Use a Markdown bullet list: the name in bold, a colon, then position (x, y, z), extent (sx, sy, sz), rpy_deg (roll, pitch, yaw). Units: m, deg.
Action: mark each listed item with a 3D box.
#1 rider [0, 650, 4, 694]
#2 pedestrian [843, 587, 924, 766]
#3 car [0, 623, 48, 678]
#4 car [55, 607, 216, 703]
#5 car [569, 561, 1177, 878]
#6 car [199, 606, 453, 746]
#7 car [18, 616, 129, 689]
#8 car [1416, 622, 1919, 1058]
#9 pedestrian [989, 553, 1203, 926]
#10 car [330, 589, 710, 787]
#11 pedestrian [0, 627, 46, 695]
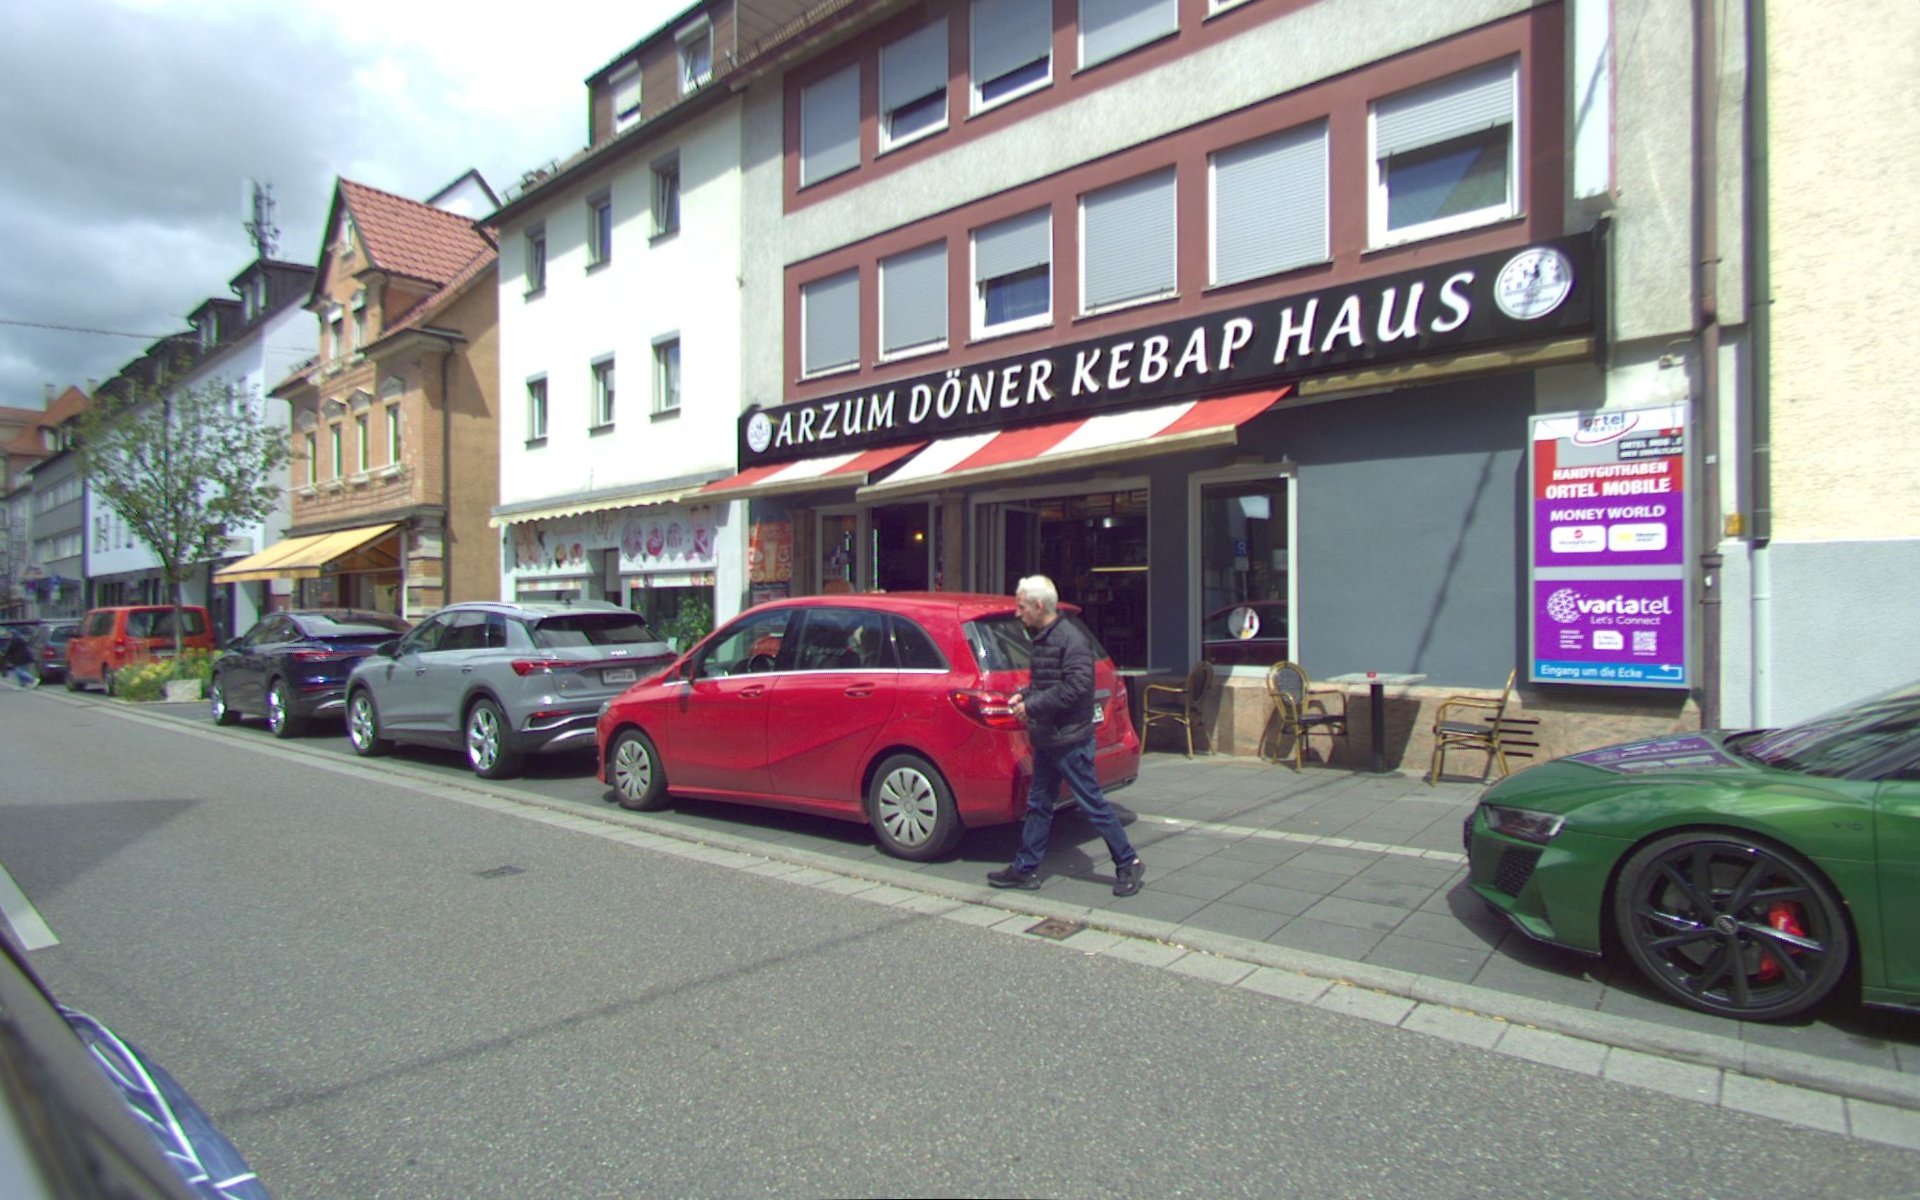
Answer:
- **rider**: position (-23.514, 1.746, 24.283), extent (0.707, 1.021, 0.795), rpy_deg (-1, 0, 43)
- **pedestrian**: position (-0.740, 0.711, 9.781), extent (0.574, 1.660, 0.496), rpy_deg (-1, 0, 40)
- **car**: position (-33.748, 1.747, 35.859), extent (4.670, 1.768, 1.796), rpy_deg (-1, 0, 44)
- **car**: position (-18.611, 1.156, 22.776), extent (4.834, 1.903, 1.799), rpy_deg (-1, 0, 38)
- **car**: position (-0.798, 0.668, 7.172), extent (4.212, 1.616, 1.782), rpy_deg (-2, -2, 38)
- **car**: position (-8.791, 0.939, 13.880), extent (4.387, 1.610, 1.780), rpy_deg (-2, -1, 41)
- **car**: position (-24.234, 1.357, 27.611), extent (4.463, 1.768, 1.796), rpy_deg (-1, 0, 43)
- **car**: position (4.094, 0.718, 3.174), extent (4.521, 1.233, 1.800), rpy_deg (-2, 0, 41)
- **pedestrian**: position (0.671, 0.619, 5.018), extent (0.779, 1.660, 0.679), rpy_deg (-1, 0, 43)
- **car**: position (-4.636, 0.781, 10.369), extent (4.346, 1.616, 1.782), rpy_deg (-2, -2, 39)
- **pedestrian**: position (-22.688, 1.458, 24.472), extent (0.779, 1.586, 0.797), rpy_deg (-1, 0, 43)
